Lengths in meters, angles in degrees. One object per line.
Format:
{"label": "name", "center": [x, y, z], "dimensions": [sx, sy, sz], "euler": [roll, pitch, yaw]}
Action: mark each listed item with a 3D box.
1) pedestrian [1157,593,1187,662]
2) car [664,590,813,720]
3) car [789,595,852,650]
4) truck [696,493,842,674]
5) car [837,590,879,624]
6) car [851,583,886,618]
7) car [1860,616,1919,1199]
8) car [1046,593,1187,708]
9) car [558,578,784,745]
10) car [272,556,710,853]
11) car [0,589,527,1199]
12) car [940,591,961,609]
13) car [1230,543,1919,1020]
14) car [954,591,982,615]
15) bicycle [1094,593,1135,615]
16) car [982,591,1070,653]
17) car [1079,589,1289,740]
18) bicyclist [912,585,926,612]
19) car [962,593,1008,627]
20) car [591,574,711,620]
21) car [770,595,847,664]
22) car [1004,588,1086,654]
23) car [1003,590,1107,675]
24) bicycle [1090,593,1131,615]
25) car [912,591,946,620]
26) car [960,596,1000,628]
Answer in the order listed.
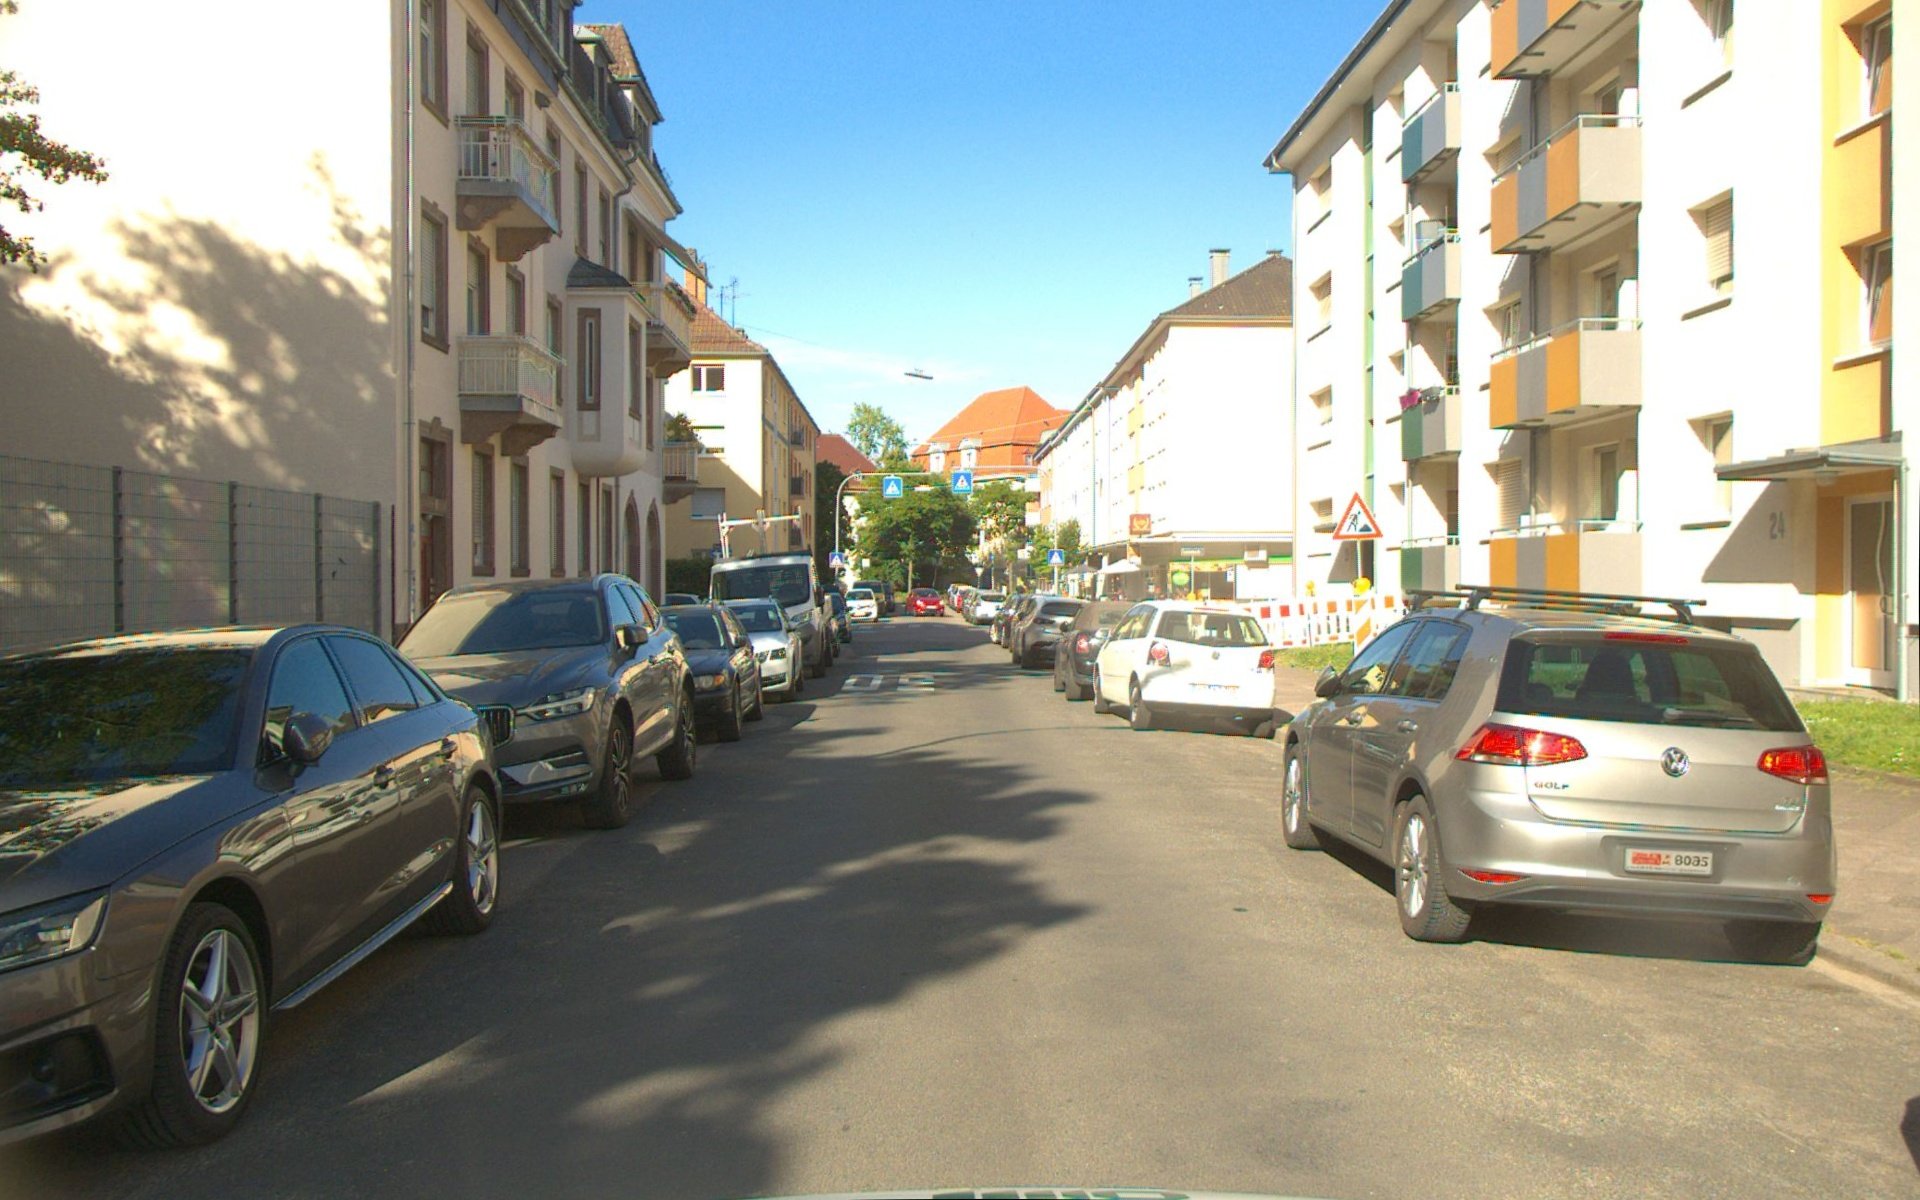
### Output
{"label": "pedestrian", "center": [4.494, 0.576, 35.092], "dimensions": [0.563, 1.458, 0.471], "euler": [0, 1, 0]}
{"label": "car", "center": [-3.179, 0.725, 24.576], "dimensions": [1.757, 1.567, 4.638], "euler": [-4, 1, -3]}
{"label": "car", "center": [-3.980, 0.636, 47.739], "dimensions": [1.670, 1.440, 4.371], "euler": [-3, 0, -4]}
{"label": "truck", "center": [-3.496, -0.266, 31.725], "dimensions": [2.214, 3.038, 7.272], "euler": [1, 0, -3]}
{"label": "car", "center": [-4.740, 0.310, 77.307], "dimensions": [1.755, 1.506, 4.098], "euler": [0, 1, -1]}
{"label": "car", "center": [-4.863, 0.031, 88.428], "dimensions": [1.663, 1.810, 4.098], "euler": [1, 0, -1]}
{"label": "car", "center": [3.105, 0.789, 1.866], "dimensions": [1.716, 1.469, 4.523], "euler": [1, 0, 0]}
{"label": "car", "center": [2.266, 0.694, 24.780], "dimensions": [1.654, 1.492, 3.582], "euler": [4, 0, -1]}
{"label": "car", "center": [-3.097, 0.622, 18.594], "dimensions": [1.755, 1.590, 4.458], "euler": [2, 0, -1]}
{"label": "car", "center": [-3.076, 0.597, 12.018], "dimensions": [1.840, 1.693, 4.930], "euler": [-1, 0, -1]}
{"label": "car", "center": [-2.922, 0.741, 5.882], "dimensions": [1.758, 1.496, 4.499], "euler": [-1, 0, -3]}
{"label": "car", "center": [-0.786, 0.011, 139.008], "dimensions": [1.605, 1.466, 3.417], "euler": [1, 0, -2]}
{"label": "car", "center": [2.811, 0.675, 8.334], "dimensions": [1.861, 1.650, 4.599], "euler": [3, 0, -3]}
{"label": "car", "center": [0.478, 0.189, 104.482], "dimensions": [1.605, 1.466, 3.417], "euler": [1, 0, -2]}
{"label": "bicycle", "center": [7.105, 0.200, 76.180], "dimensions": [1.774, 0.984, 0.672], "euler": [1, 0, -12]}
{"label": "car", "center": [1.757, 0.592, 45.313], "dimensions": [1.817, 1.550, 4.772], "euler": [2, -1, -4]}
{"label": "car", "center": [2.622, 0.714, 20.234], "dimensions": [1.653, 1.487, 3.816], "euler": [7, -1, -4]}
{"label": "bicyclist", "center": [-2.501, -0.114, 101.932], "dimensions": [0.769, 1.649, 0.956], "euler": [0, 0, 3]}
{"label": "car", "center": [1.074, 0.427, 72.997], "dimensions": [1.808, 1.466, 3.417], "euler": [1, 0, -3]}
{"label": "car", "center": [-10.755, -0.096, 57.604], "dimensions": [3.919, 1.505, 1.586], "euler": [1, 0, -19]}
{"label": "car", "center": [-3.482, 0.663, 38.503], "dimensions": [1.613, 1.440, 4.078], "euler": [-3, 0, -4]}
{"label": "car", "center": [2.032, 0.505, 40.432], "dimensions": [1.612, 1.485, 3.938], "euler": [2, -1, -2]}
{"label": "car", "center": [1.914, 0.643, 34.461], "dimensions": [1.756, 1.496, 4.338], "euler": [5, 0, -1]}
{"label": "bicycle", "center": [6.969, 0.165, 76.805], "dimensions": [1.774, 0.984, 0.672], "euler": [1, 0, -12]}
{"label": "car", "center": [-1.633, 0.260, 87.724], "dimensions": [1.662, 1.466, 3.419], "euler": [1, 0, 1]}
{"label": "car", "center": [0.903, 0.542, 77.924], "dimensions": [1.657, 1.466, 3.417], "euler": [1, 0, -3]}
